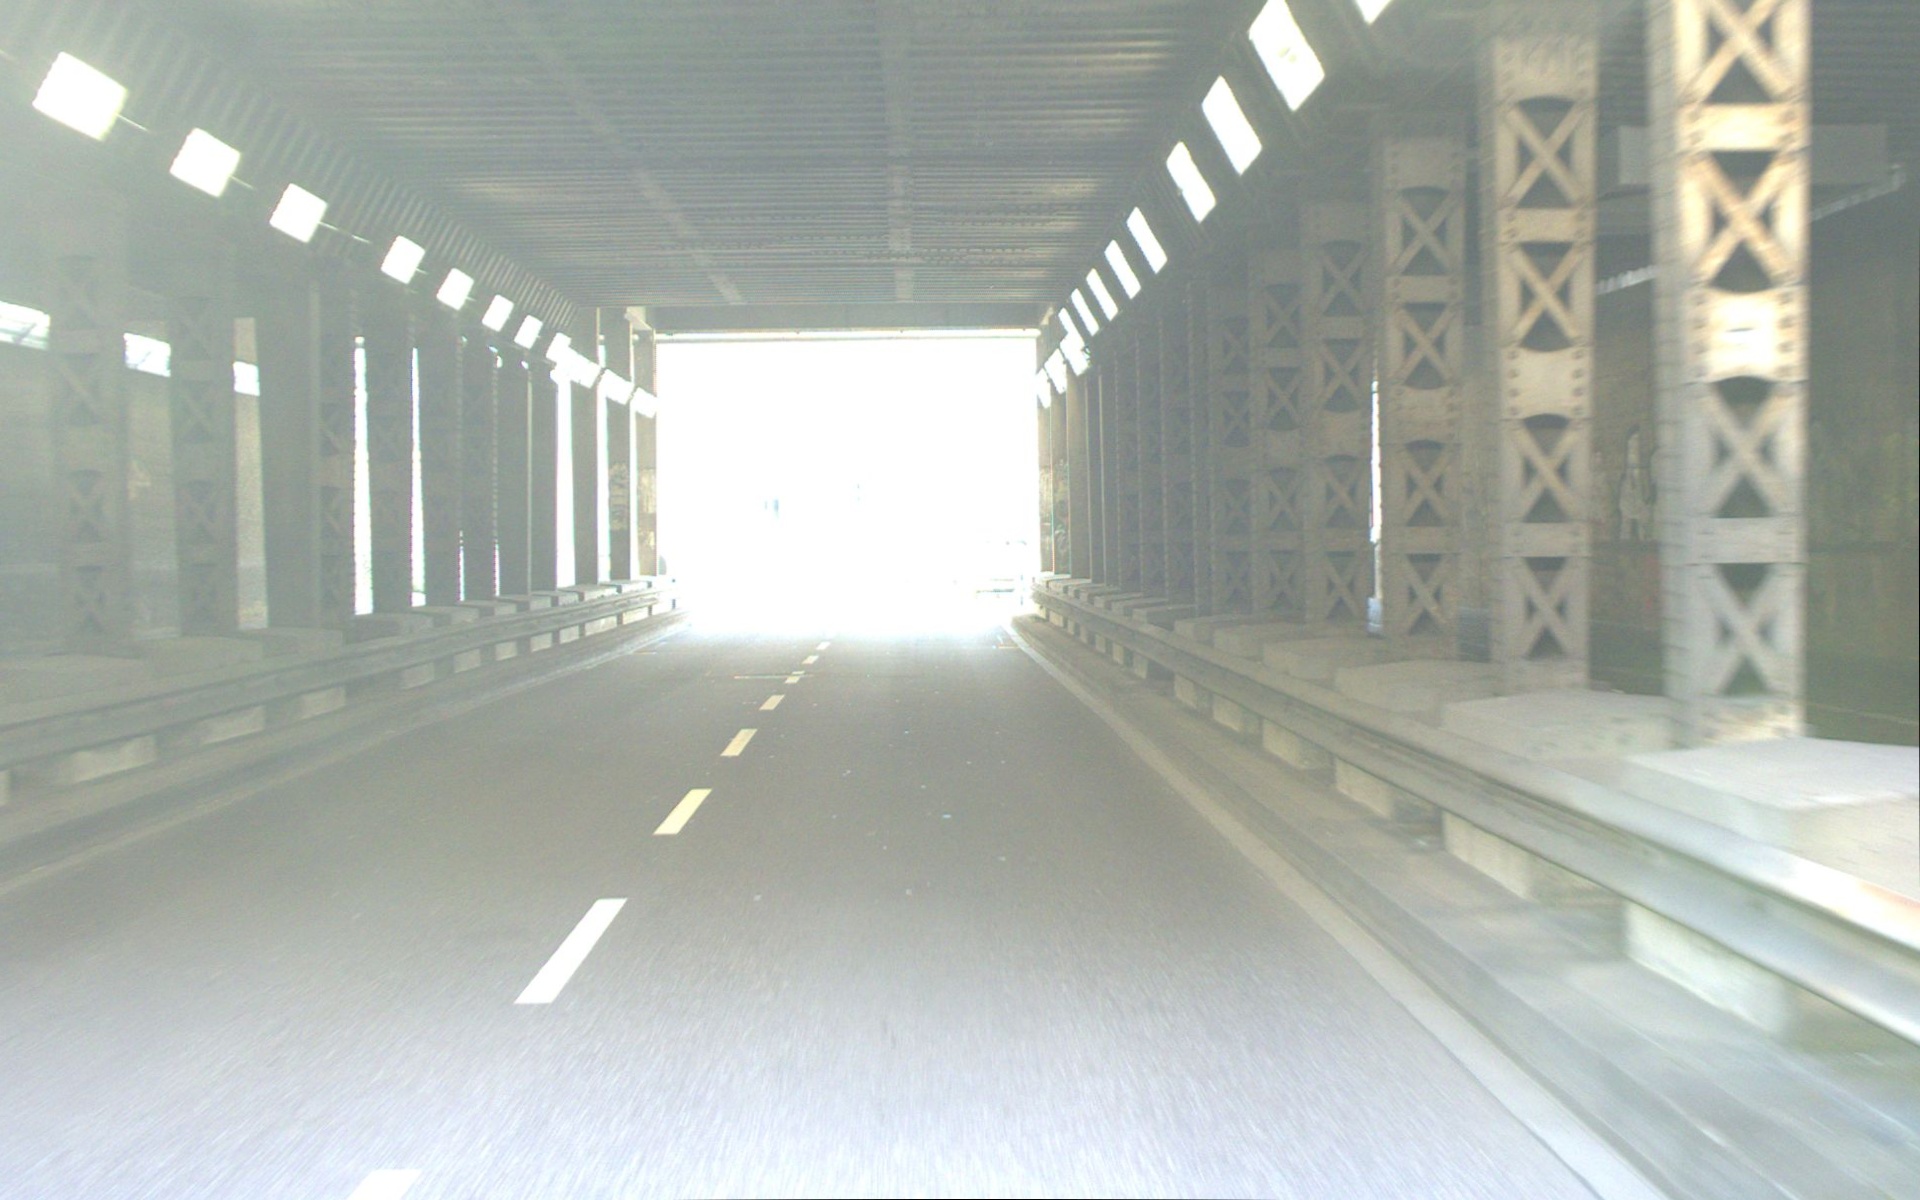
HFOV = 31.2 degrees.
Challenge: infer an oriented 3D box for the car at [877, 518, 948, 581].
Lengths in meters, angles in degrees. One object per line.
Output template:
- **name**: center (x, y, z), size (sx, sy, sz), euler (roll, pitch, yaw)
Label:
- **car**: center (-1.366, -1.478, 99.551), size (1.993, 1.778, 4.000), euler (-1, 1, -1)

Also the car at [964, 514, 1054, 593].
- **car**: center (1.120, -1.093, 80.358), size (1.993, 1.778, 4.000), euler (-1, 1, -1)

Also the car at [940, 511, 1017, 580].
- **car**: center (0.480, -1.478, 92.713), size (1.993, 1.778, 4.000), euler (-1, 1, -1)
